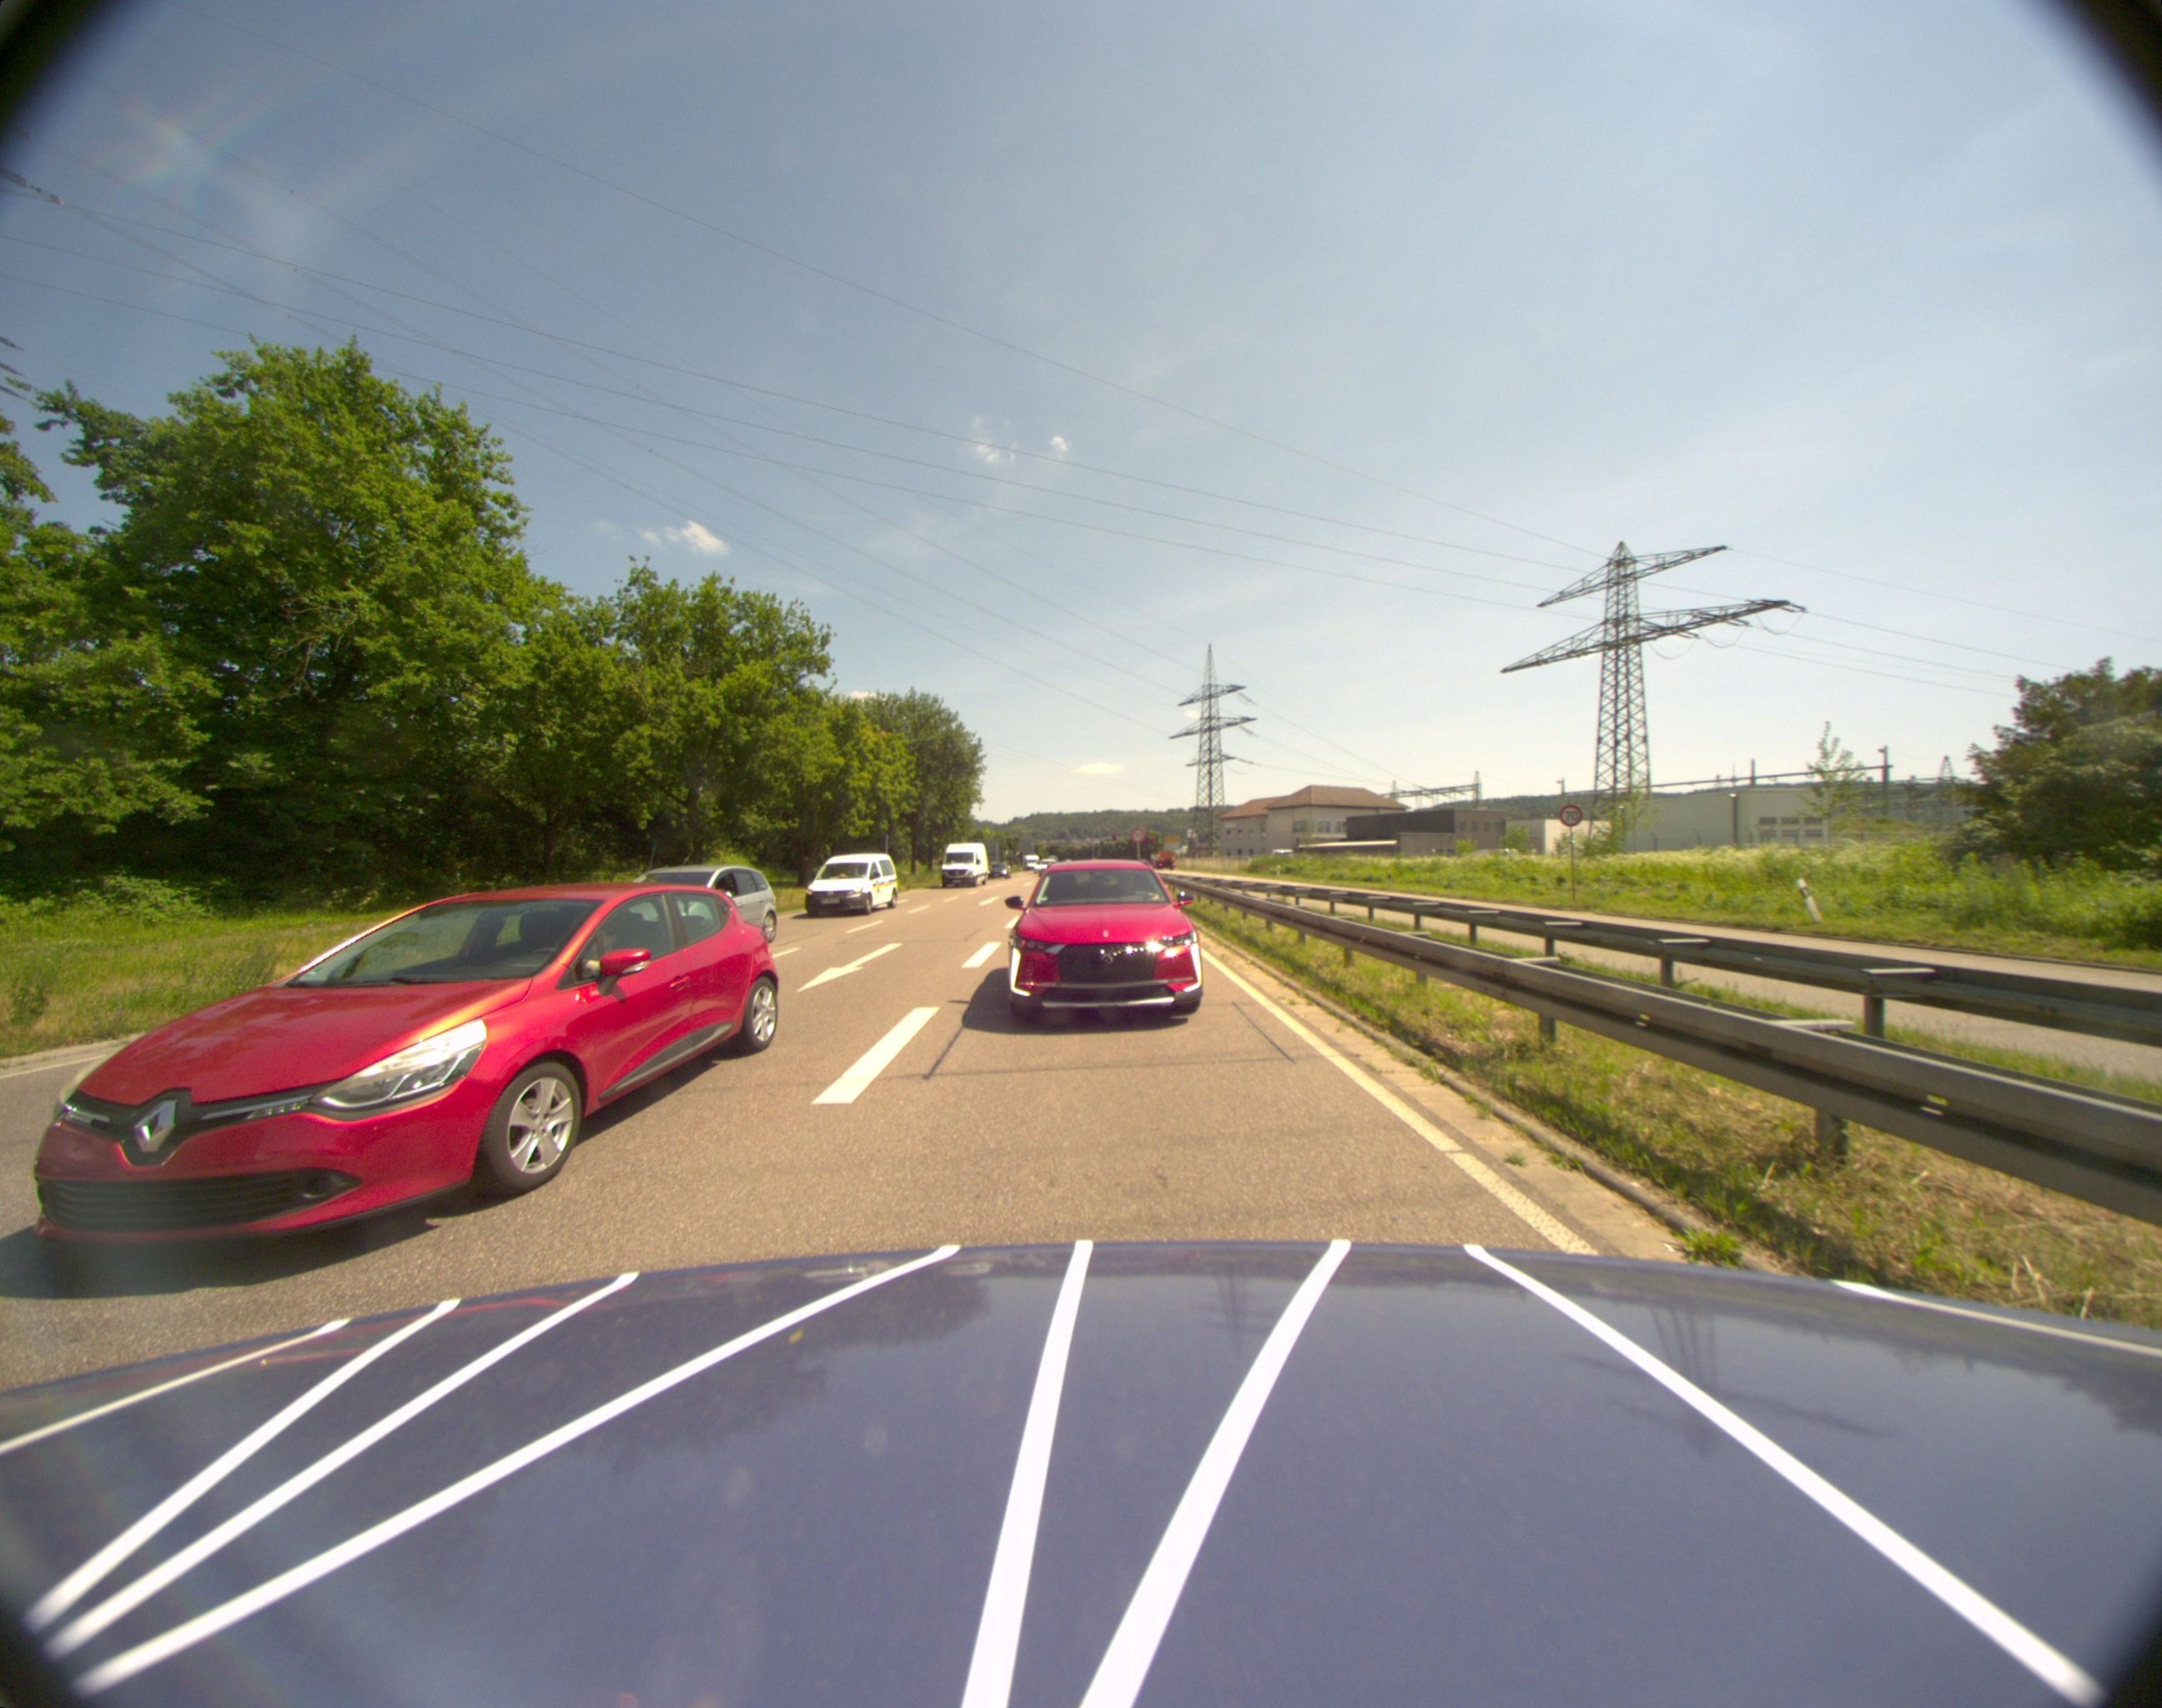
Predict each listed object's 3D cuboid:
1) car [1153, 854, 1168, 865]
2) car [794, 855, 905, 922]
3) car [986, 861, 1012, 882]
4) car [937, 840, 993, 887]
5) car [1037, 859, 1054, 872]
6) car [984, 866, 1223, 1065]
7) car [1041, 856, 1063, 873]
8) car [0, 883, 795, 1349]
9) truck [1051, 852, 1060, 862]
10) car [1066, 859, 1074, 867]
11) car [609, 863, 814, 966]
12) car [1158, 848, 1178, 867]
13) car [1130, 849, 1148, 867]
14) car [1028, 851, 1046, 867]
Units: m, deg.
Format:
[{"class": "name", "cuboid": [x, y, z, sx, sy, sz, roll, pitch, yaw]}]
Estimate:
[{"class": "car", "cuboid": [14.130, 0.987, 135.422, 1.999, 1.904, 3.998, -2, 1, -3]}, {"class": "car", "cuboid": [-6.951, 0.945, 23.439, 1.809, 1.790, 5.037, -2, 0, 0]}, {"class": "car", "cuboid": [-7.145, 1.531, 66.791, 1.878, 1.674, 3.999, -2, 1, -2]}, {"class": "car", "cuboid": [-6.888, 0.541, 46.070, 2.232, 2.592, 7.018, -2, 0, 0]}, {"class": "car", "cuboid": [-4.309, 1.398, 93.201, 1.850, 1.559, 4.148, -2, 0, 1]}, {"class": "car", "cuboid": [0.208, 0.918, 8.225, 1.846, 1.453, 4.414, -2, 0, 1]}, {"class": "car", "cuboid": [-2.783, 0.977, 73.761, 1.850, 1.559, 4.363, -2, 0, 1]}, {"class": "car", "cuboid": [-3.468, 1.015, 4.716, 1.747, 1.453, 4.065, -2, 0, 1]}, {"class": "truck", "cuboid": [-6.351, 0.666, 192.536, 2.170, 2.428, 4.909, -2, 1, -2]}, {"class": "car", "cuboid": [-2.584, 2.192, 177.380, 1.878, 1.674, 3.999, -2, 1, -2]}, {"class": "car", "cuboid": [-6.802, 1.016, 14.592, 1.747, 1.585, 4.272, -2, 0, 1]}, {"class": "car", "cuboid": [14.383, 0.561, 125.326, 2.607, 3.043, 5.638, 0, 0, 0]}, {"class": "car", "cuboid": [9.796, 0.631, 129.768, 2.607, 3.043, 5.638, 0, 0, 0]}, {"class": "car", "cuboid": [-6.771, 0.775, 117.871, 2.308, 2.408, 5.814, -2, 0, 1]}]
